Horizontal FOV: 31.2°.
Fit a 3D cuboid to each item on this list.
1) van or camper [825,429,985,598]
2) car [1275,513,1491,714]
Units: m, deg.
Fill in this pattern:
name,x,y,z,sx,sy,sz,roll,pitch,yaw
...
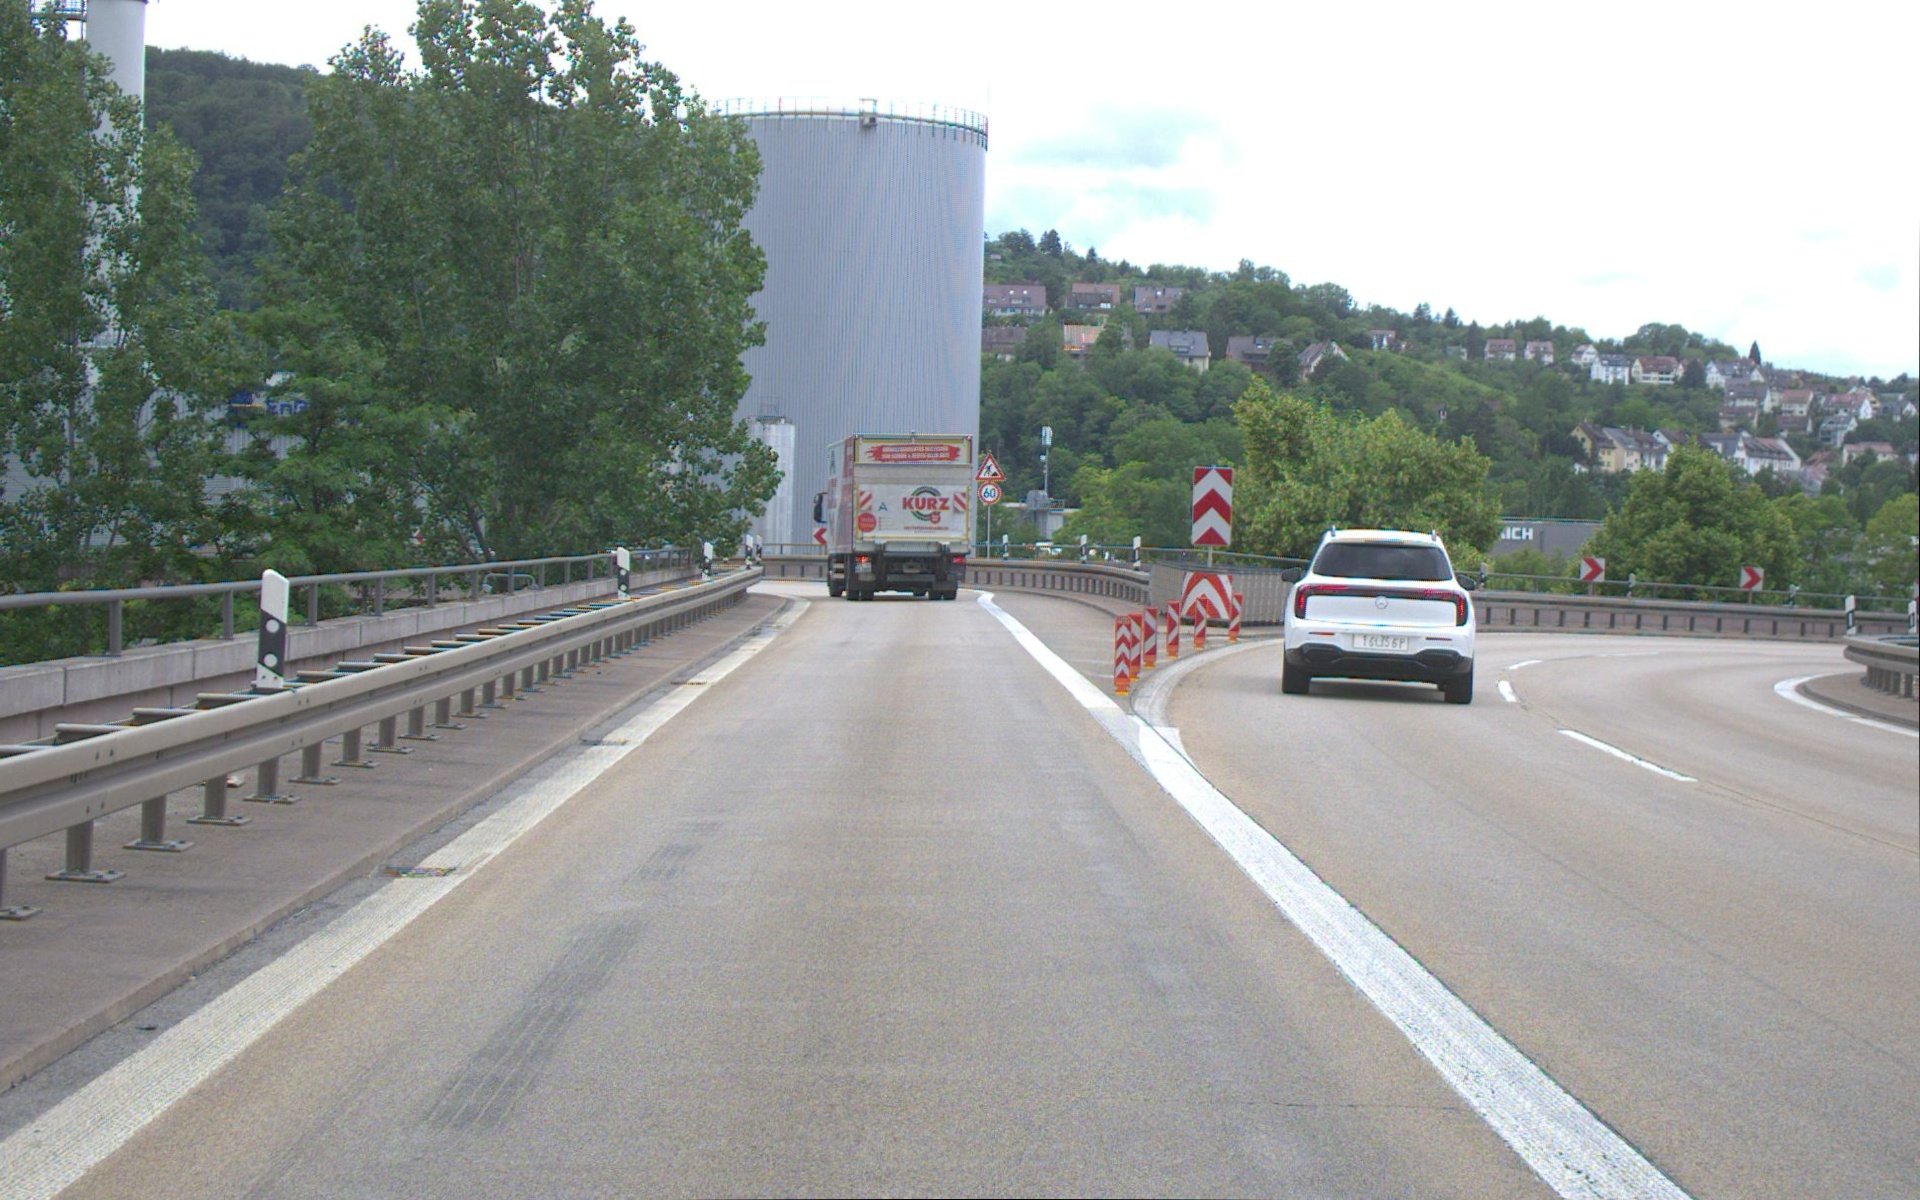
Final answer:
name,x,y,z,sx,sy,sz,roll,pitch,yaw
van or camper,-1.328,-1.892,76.702,3.121,3.567,8.551,0,1,-4
car,4.269,0.085,34.836,1.924,1.779,4.112,4,2,7
